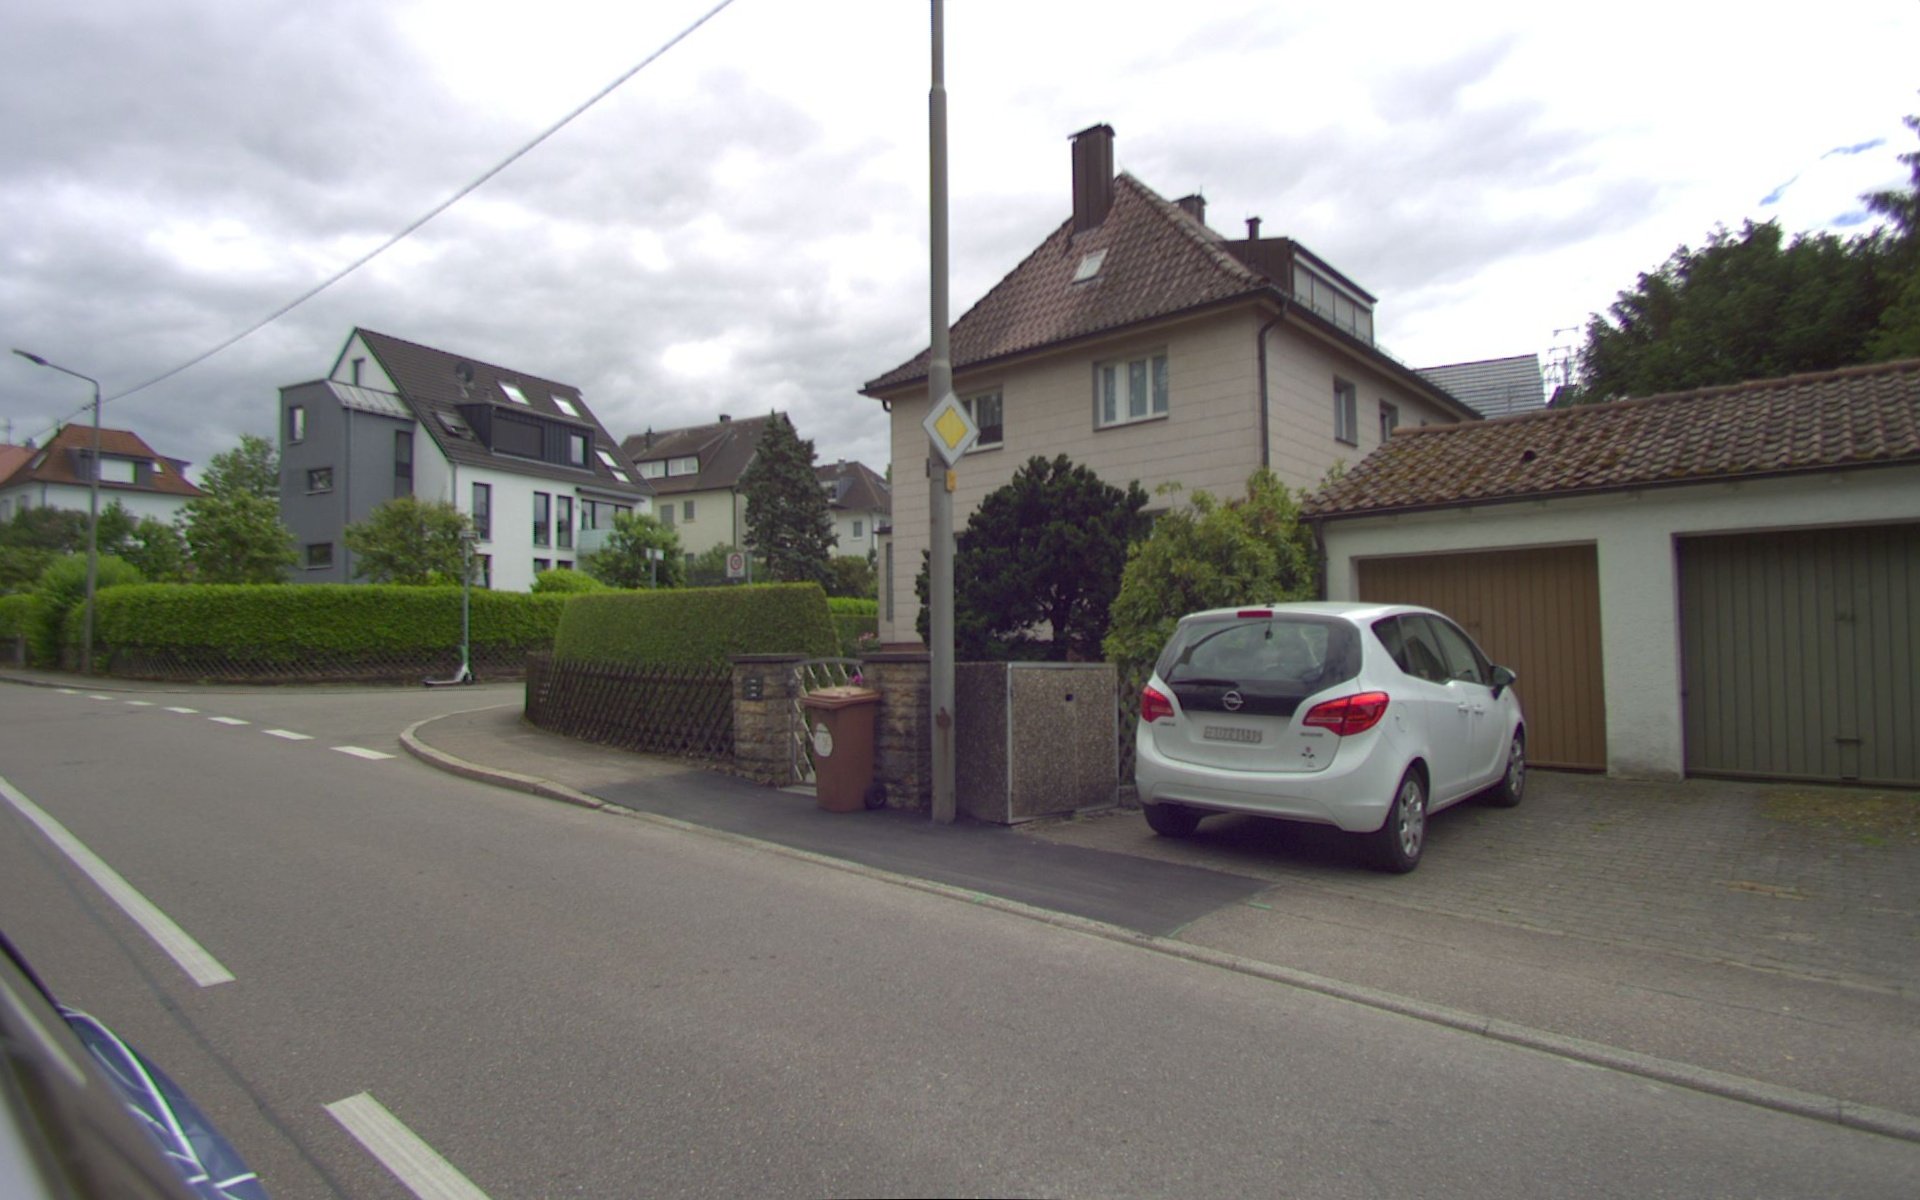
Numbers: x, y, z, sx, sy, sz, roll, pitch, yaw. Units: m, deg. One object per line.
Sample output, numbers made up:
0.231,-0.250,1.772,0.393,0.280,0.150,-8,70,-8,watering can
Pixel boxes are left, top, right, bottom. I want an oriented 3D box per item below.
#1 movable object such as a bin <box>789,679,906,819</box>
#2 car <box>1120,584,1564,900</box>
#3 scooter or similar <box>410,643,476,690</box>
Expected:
-0.855,1.103,7.718,0.572,0.961,0.680,-2,-2,42,movable object such as a bin
2.968,0.730,7.326,1.718,1.606,3.945,-1,0,41,car
-13.281,1.689,26.016,0.455,1.109,1.435,2,1,42,scooter or similar
